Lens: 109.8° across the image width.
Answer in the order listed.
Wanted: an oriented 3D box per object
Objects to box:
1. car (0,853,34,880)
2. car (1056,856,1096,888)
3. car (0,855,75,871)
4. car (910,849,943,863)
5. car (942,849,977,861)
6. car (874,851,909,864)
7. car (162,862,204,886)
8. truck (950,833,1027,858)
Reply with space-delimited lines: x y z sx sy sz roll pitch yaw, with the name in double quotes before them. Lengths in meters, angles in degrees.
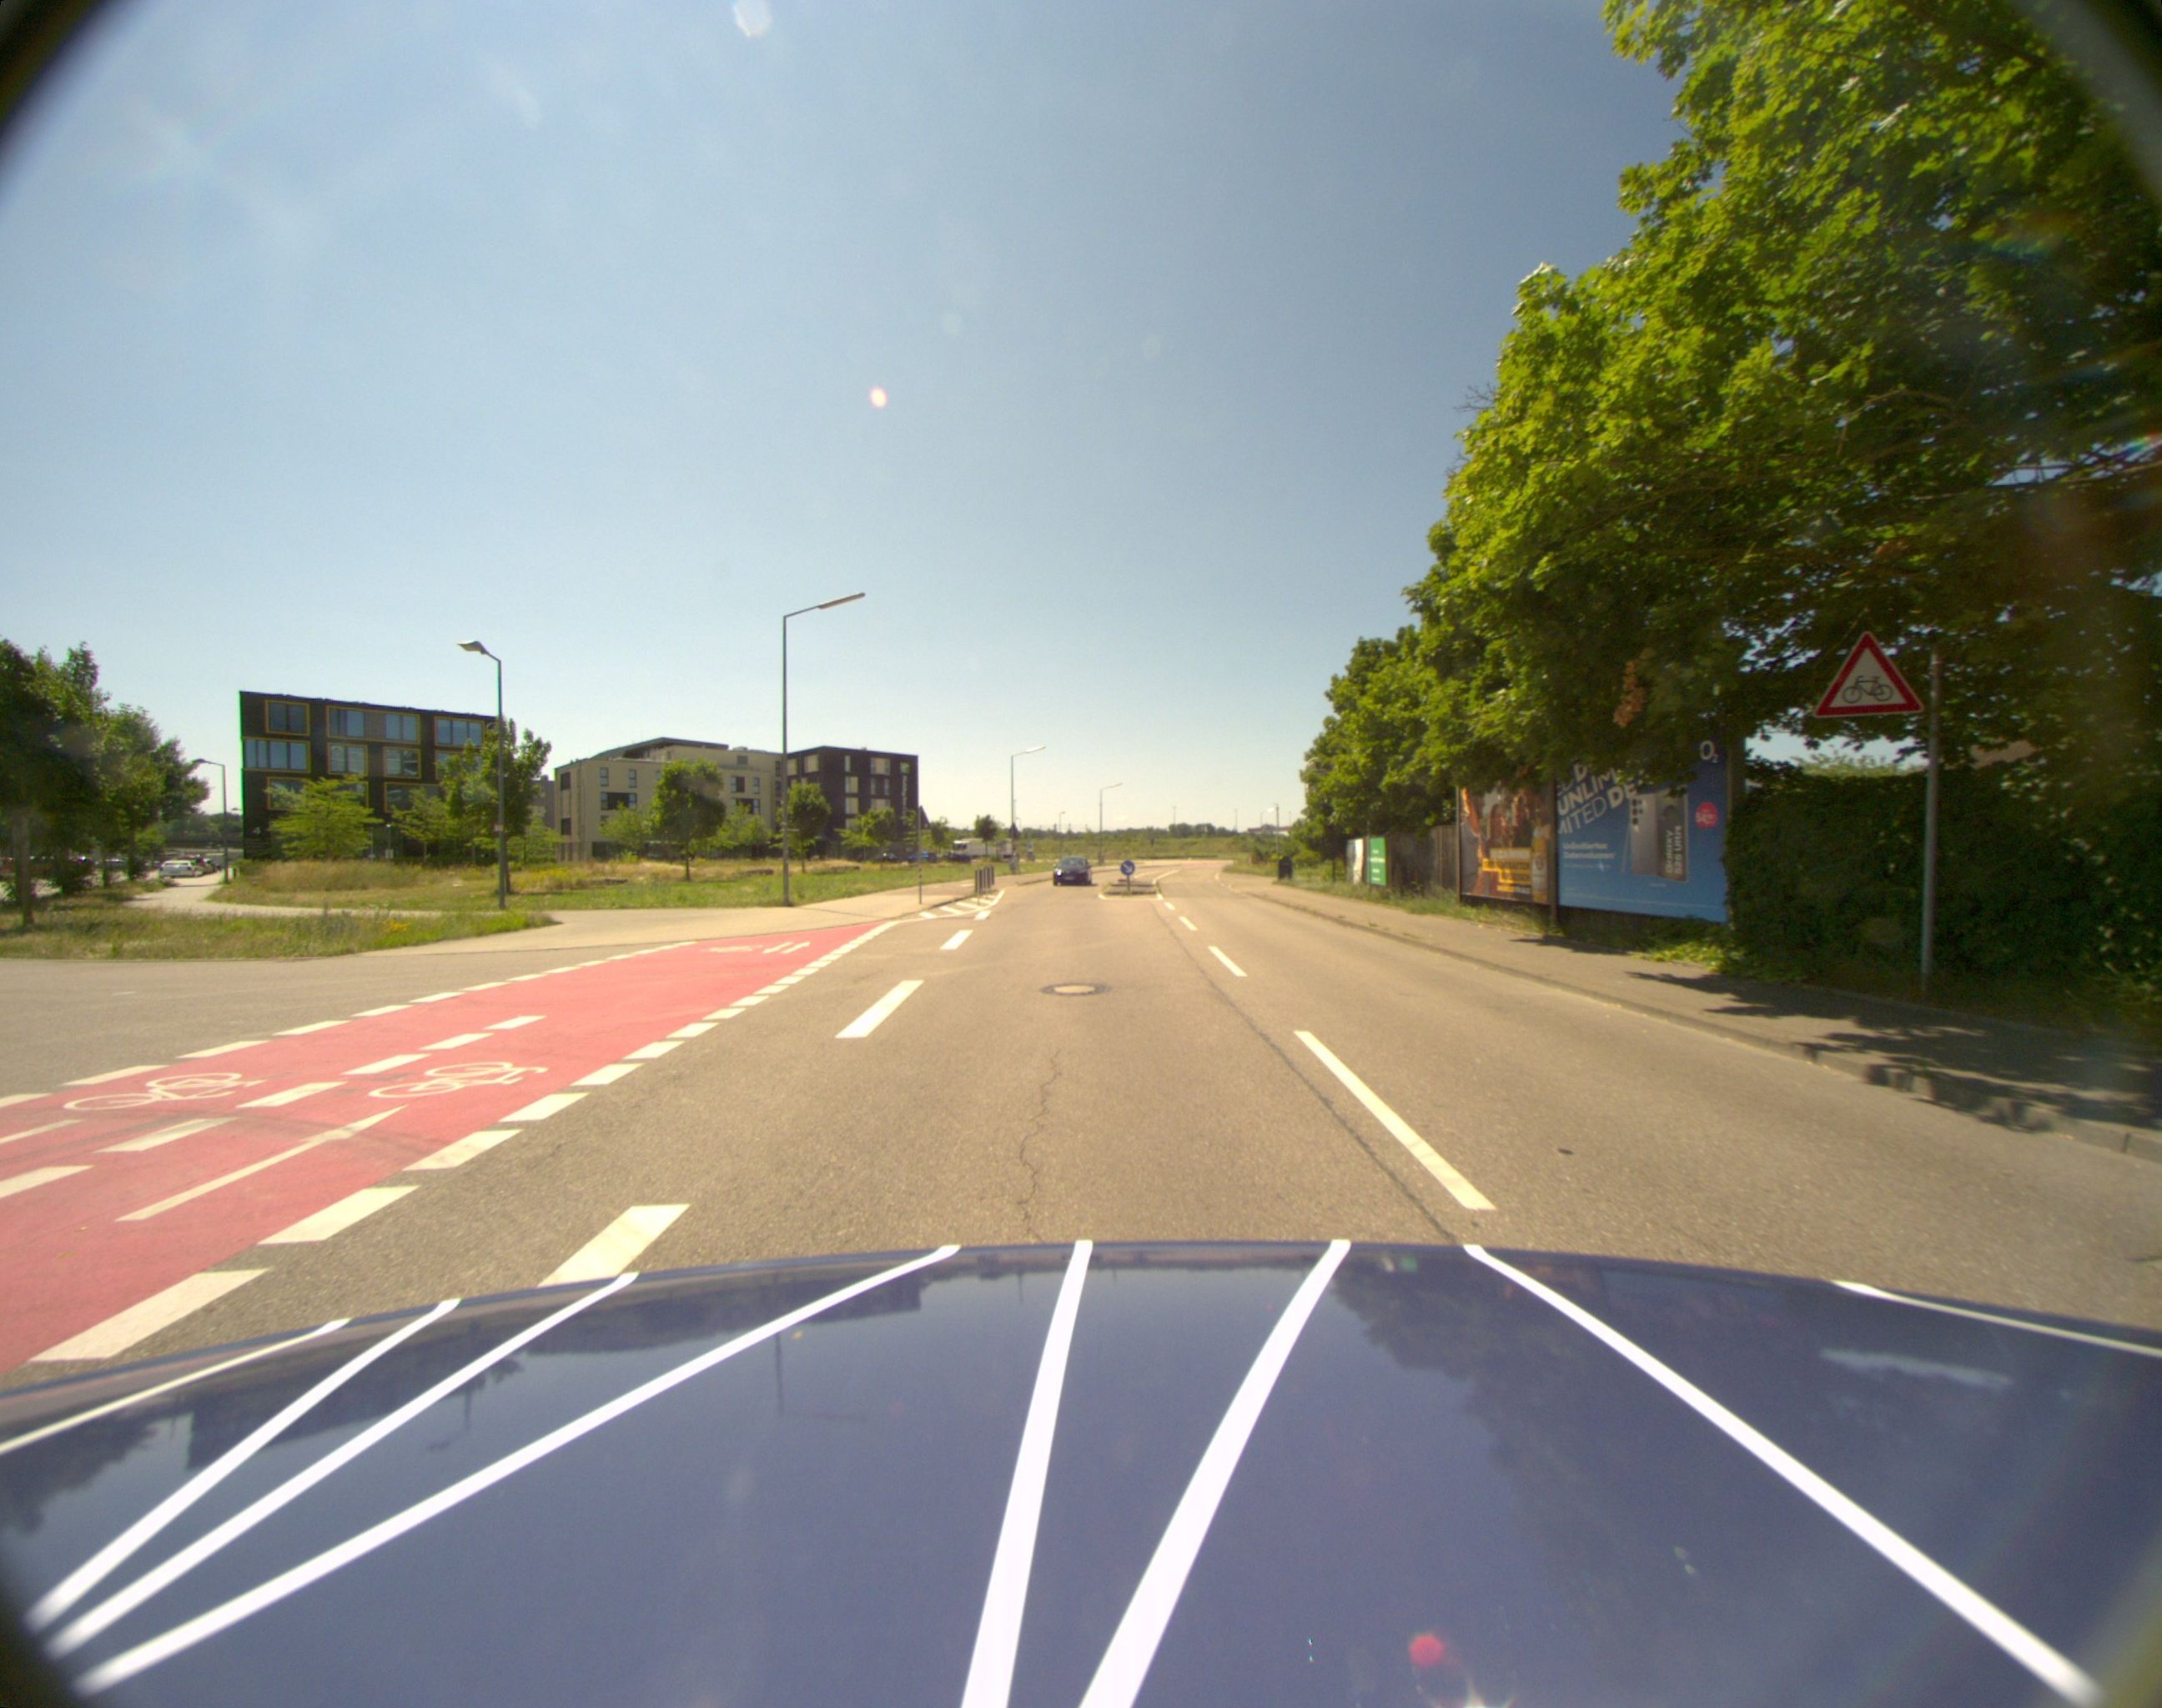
"car" -86.381 0.979 59.269 2.230 2.103 5.171 0 1 44
"car" -0.206 0.850 37.914 1.653 1.458 4.161 0 0 4
"car" -99.137 0.837 71.983 1.798 1.501 4.535 0 1 41
"car" -18.984 0.271 93.482 4.059 1.642 1.959 0 1 43
"car" -15.410 0.102 96.508 4.495 1.553 2.036 0 1 42
"car" -22.429 0.378 89.860 4.114 1.436 1.966 0 1 37
"car" -75.583 1.701 63.981 3.483 1.917 1.964 -1 1 45
"truck" -13.769 -1.283 114.539 3.009 3.442 12.164 3 3 45
